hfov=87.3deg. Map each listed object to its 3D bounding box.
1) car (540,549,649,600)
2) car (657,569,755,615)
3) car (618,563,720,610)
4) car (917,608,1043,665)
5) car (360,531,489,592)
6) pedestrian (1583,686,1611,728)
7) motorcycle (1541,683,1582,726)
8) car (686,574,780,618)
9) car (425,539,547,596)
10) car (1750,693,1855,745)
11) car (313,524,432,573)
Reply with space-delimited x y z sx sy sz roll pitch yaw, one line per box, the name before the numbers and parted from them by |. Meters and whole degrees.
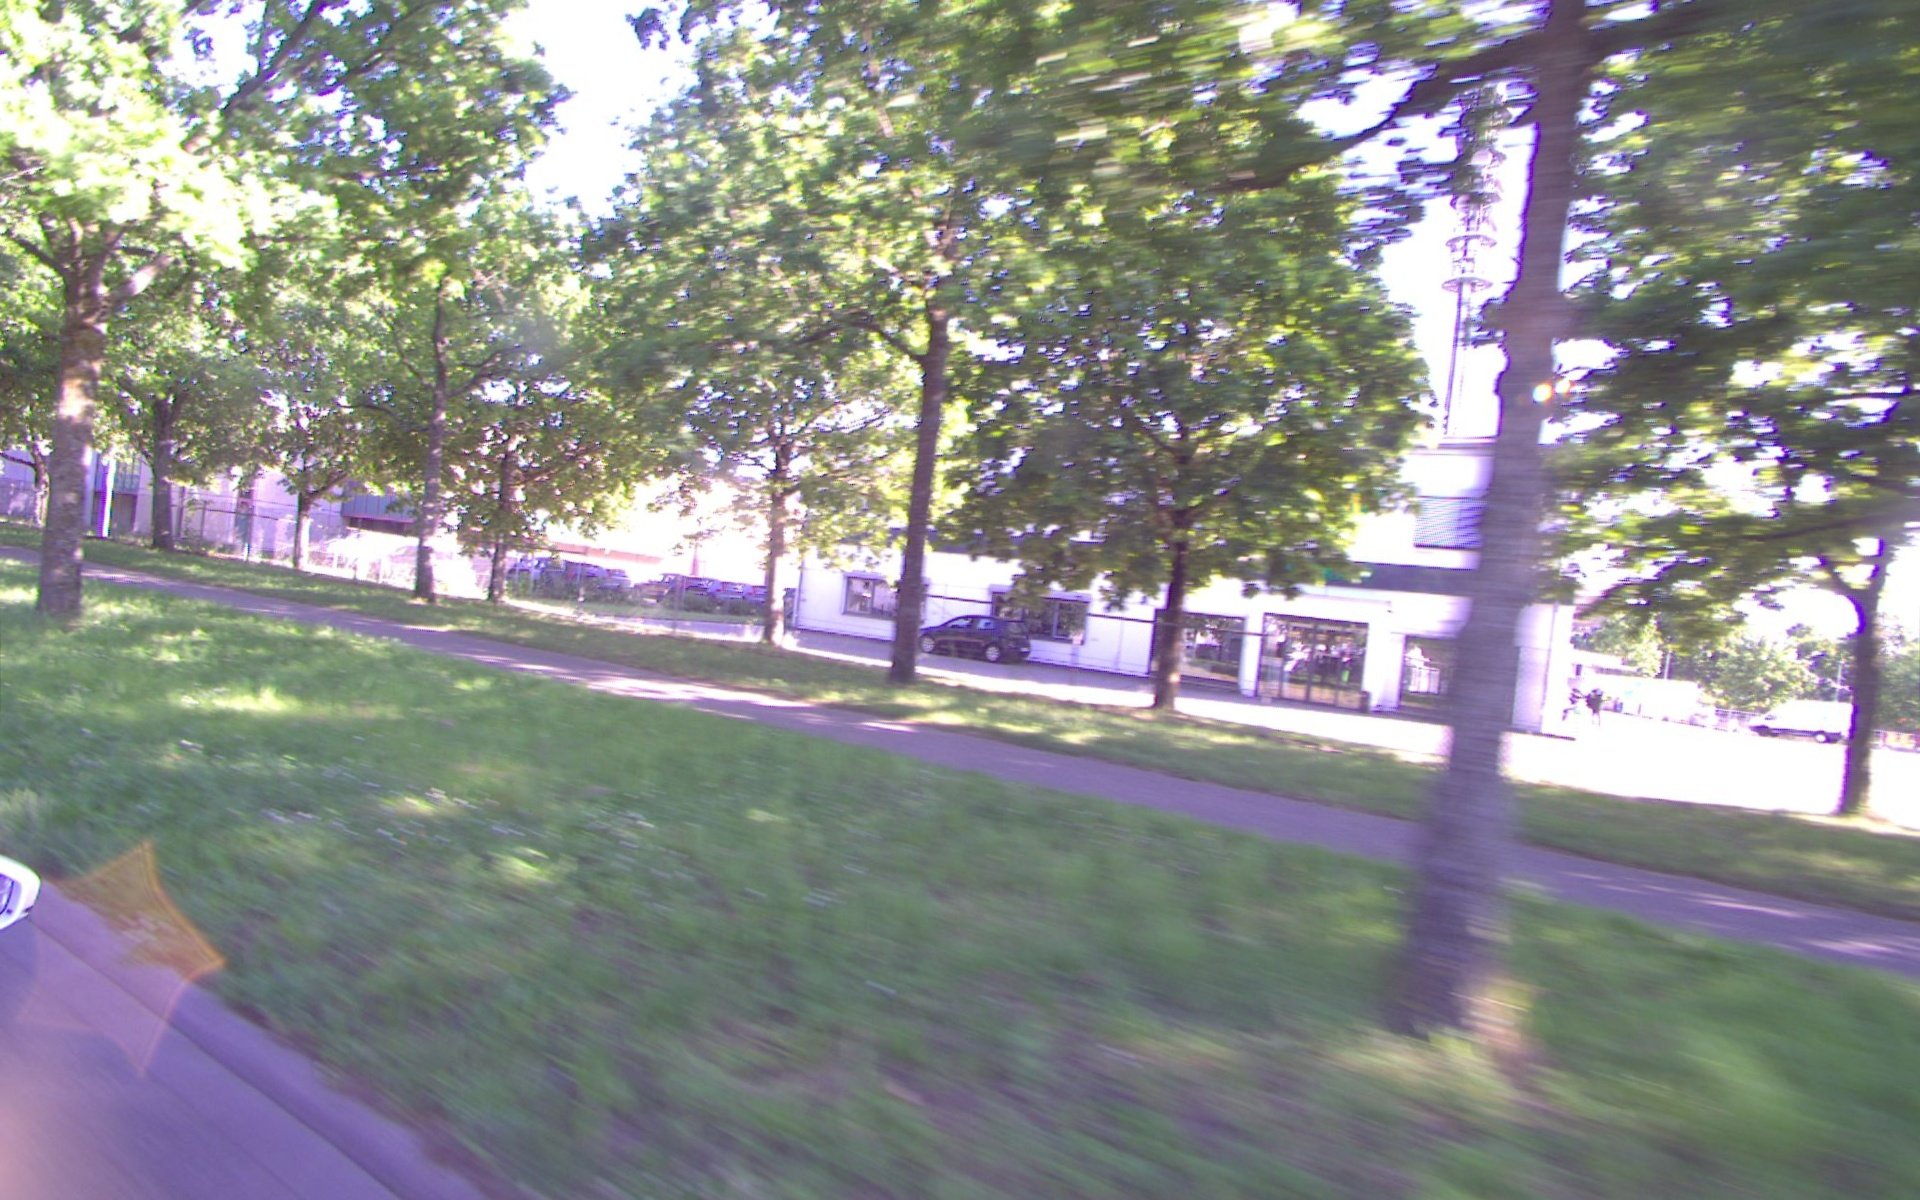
car | -16.812 -1.184 46.244 4.562 1.766 2.188 7 0 30
car | -13.221 -0.421 52.254 4.562 1.766 2.188 7 0 30
car | -14.534 -0.682 50.204 4.562 1.766 2.188 7 0 30
car | 0.662 1.200 33.442 3.703 1.401 1.768 7 0 29
car | -20.735 -1.499 38.932 4.562 1.766 2.188 7 0 30
pedestrian | 23.715 3.976 37.472 0.708 1.451 0.748 7 1 31
motorcycle | 22.314 3.876 37.306 1.978 1.450 0.649 7 0 -43
car | -12.289 -0.206 54.436 4.562 1.766 2.188 7 0 30
car | -19.407 -1.347 41.167 4.562 1.766 2.188 7 0 30
car | 57.560 8.102 68.829 2.142 2.731 4.816 6 0 -28
car | -29.317 -2.526 50.335 2.152 1.765 4.638 7 0 25
